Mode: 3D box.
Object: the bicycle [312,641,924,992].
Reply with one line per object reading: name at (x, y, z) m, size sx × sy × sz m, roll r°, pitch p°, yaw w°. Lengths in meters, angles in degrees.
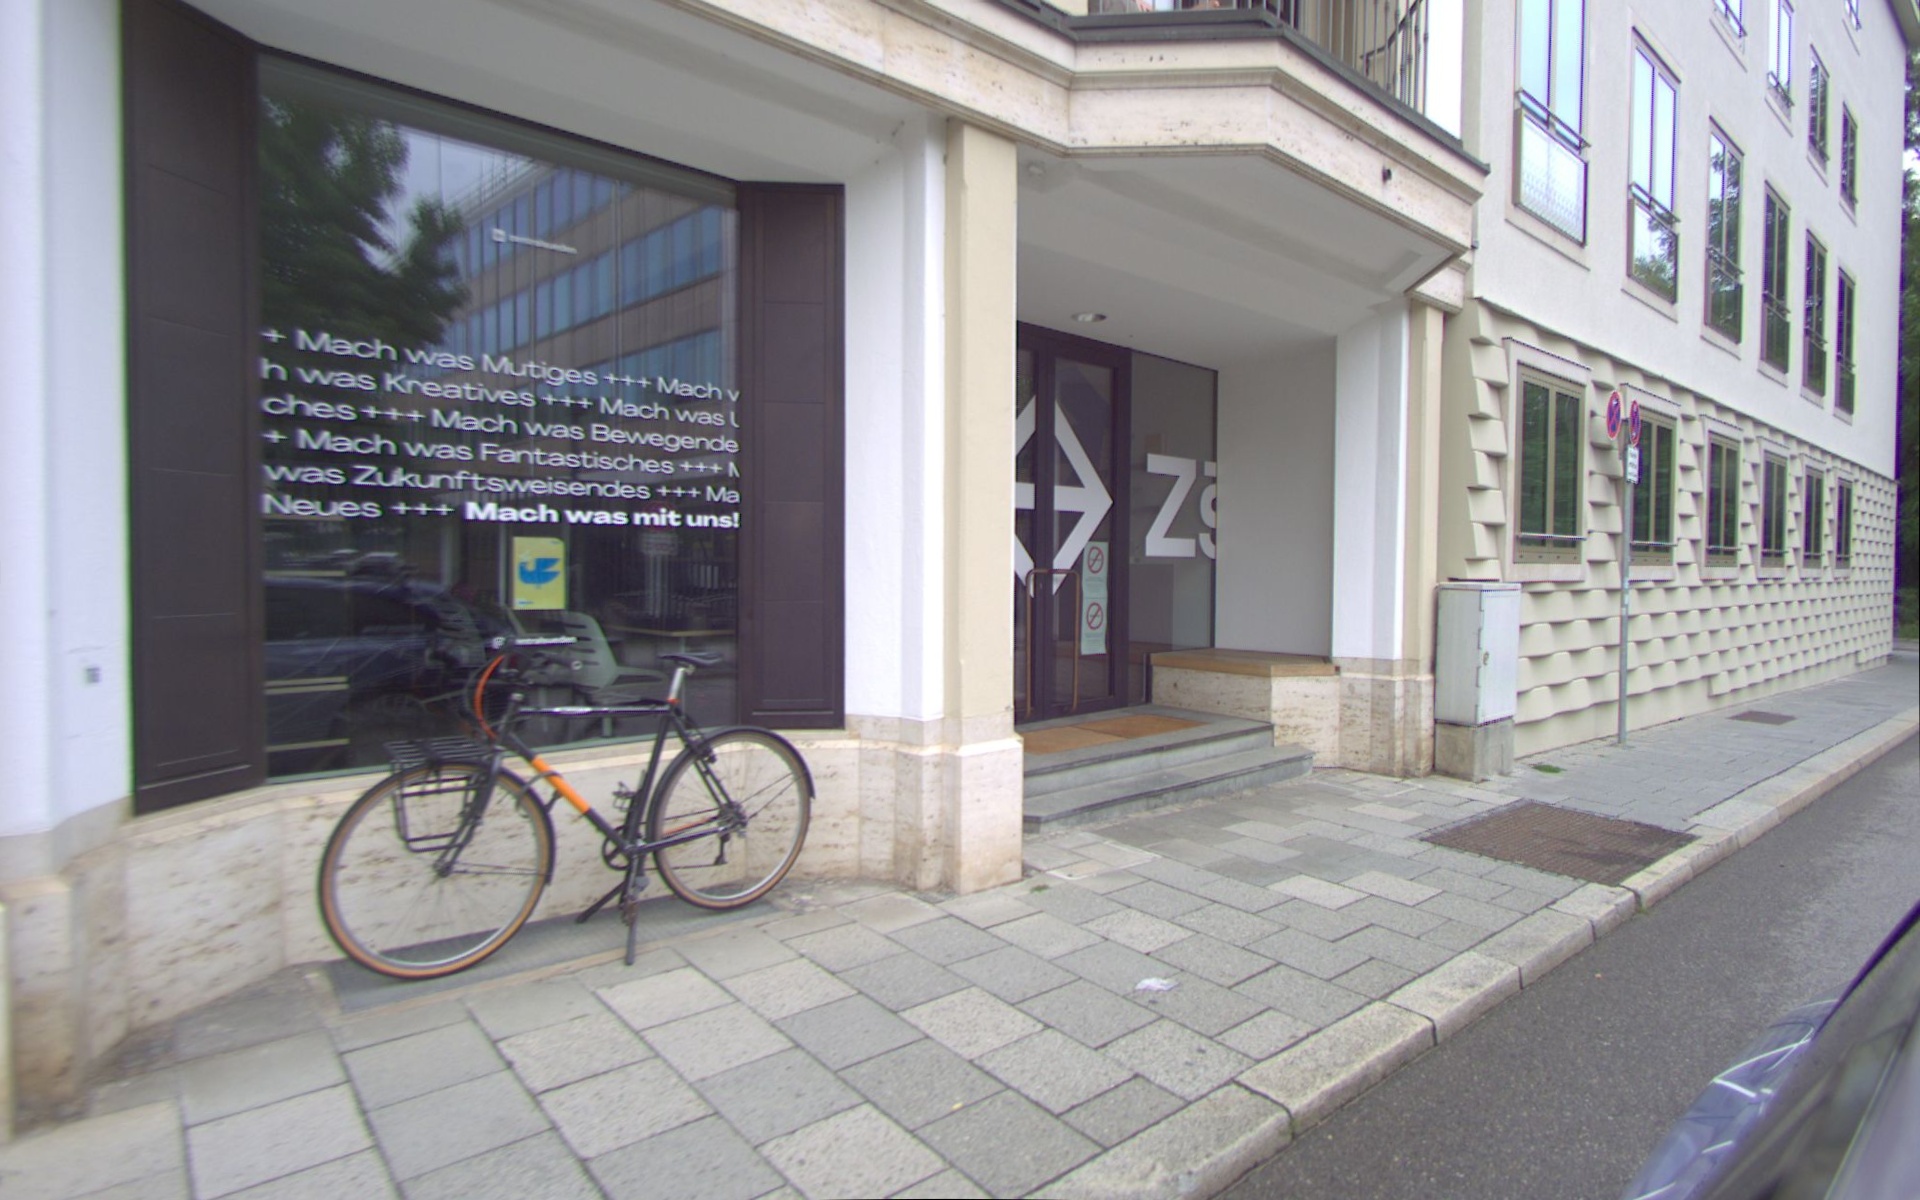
bicycle at (-1.155, 0.674, 3.729) m, size 2.037 × 1.006 × 0.466 m, roll 1°, pitch 2°, yaw -31°
